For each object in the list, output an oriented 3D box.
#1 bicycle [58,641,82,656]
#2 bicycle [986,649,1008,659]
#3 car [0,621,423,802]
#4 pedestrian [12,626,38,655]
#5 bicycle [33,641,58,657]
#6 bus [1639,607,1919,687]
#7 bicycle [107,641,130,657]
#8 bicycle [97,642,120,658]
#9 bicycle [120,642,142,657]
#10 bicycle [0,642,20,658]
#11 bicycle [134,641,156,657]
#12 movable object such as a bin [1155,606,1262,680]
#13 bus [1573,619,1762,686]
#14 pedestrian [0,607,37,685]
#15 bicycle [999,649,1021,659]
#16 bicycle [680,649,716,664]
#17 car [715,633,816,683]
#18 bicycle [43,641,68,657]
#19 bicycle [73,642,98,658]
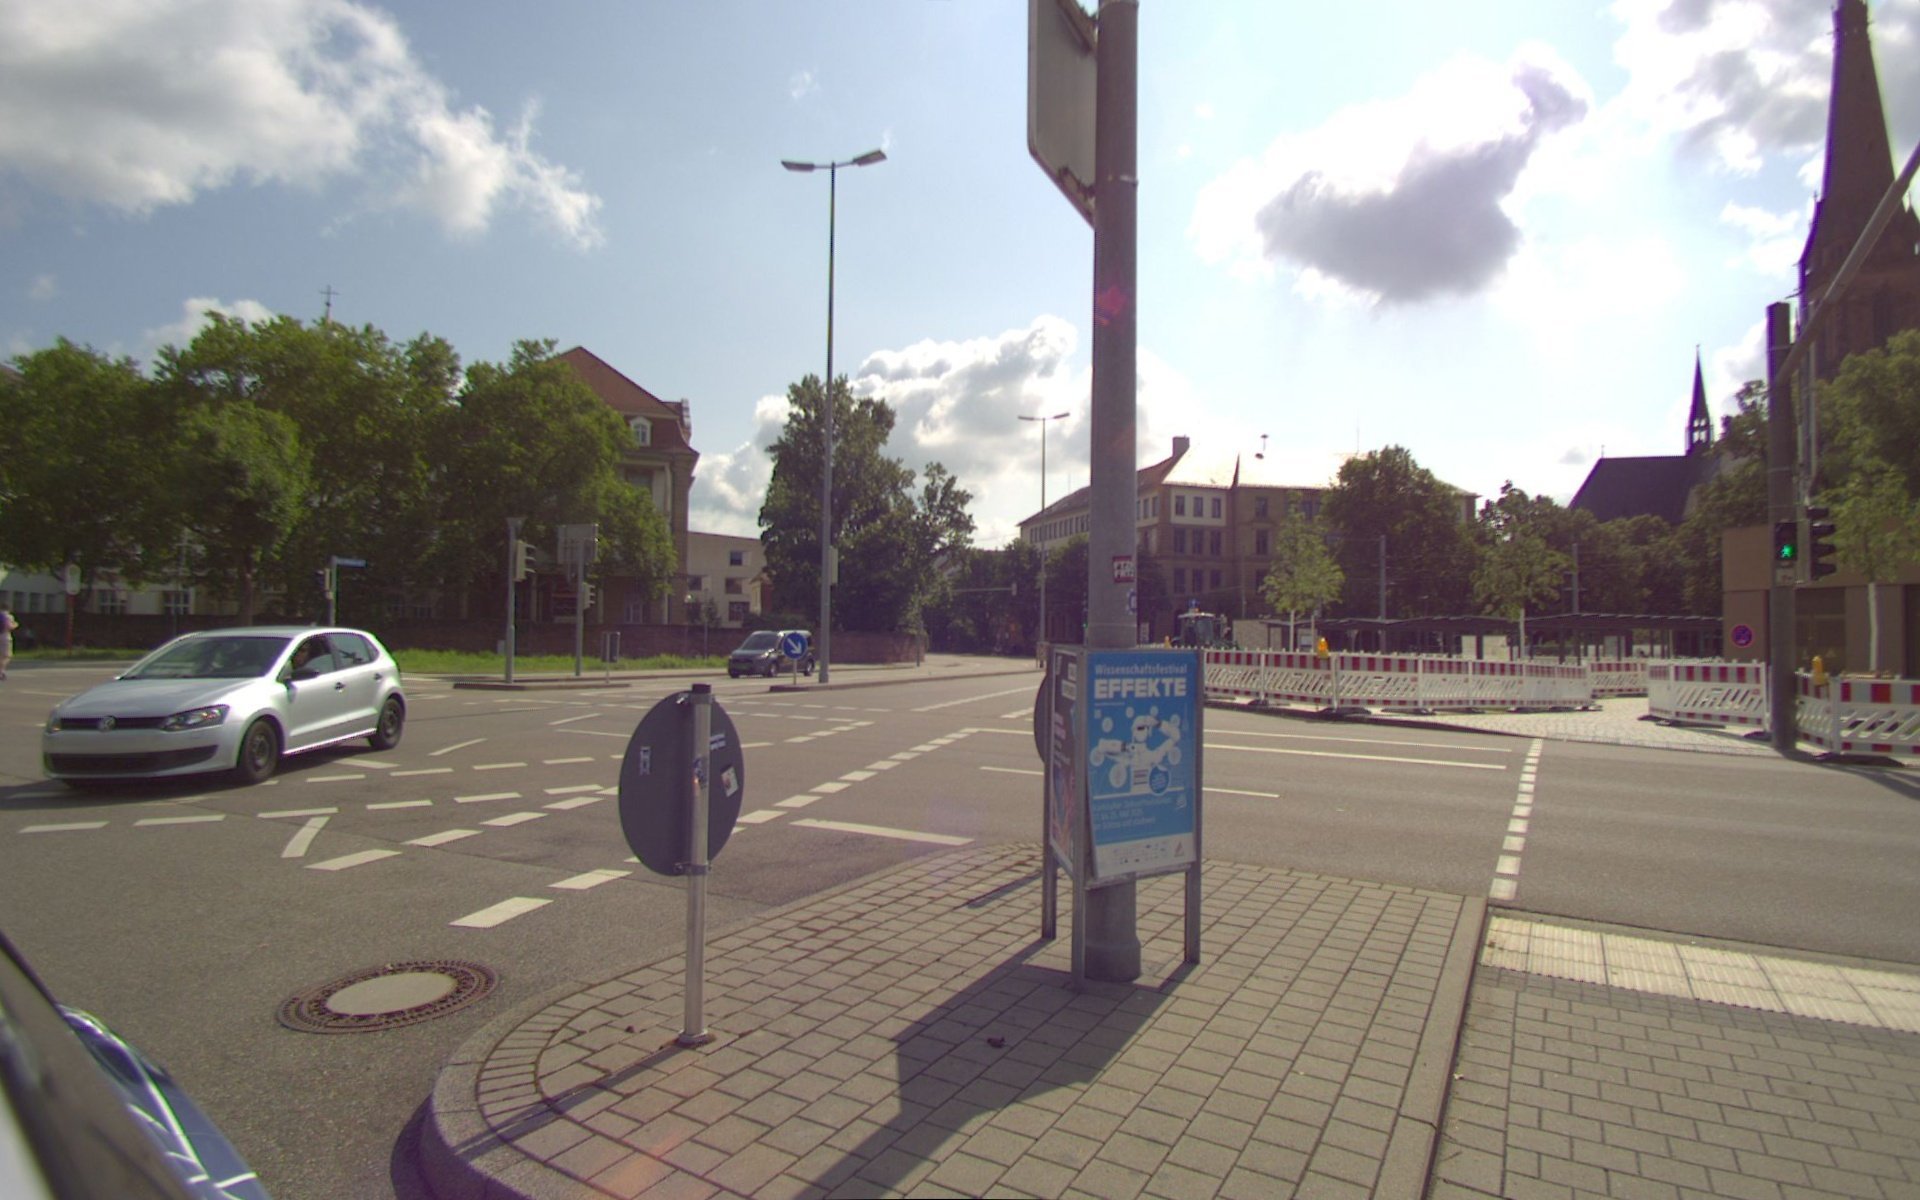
[{"bbox_3d":[-48.765,2.661,55.484,0.475,0.855,0.974,1,-3,-6],"label":"bicycle"},{"bbox_3d":[5.155,7.603,142.095,2.877,1.216,1.064,0,0,24],"label":"bicycle"},{"bbox_3d":[-7.232,0.983,10.231,1.632,1.453,4.007,1,-2,-3],"label":"car"},{"bbox_3d":[-50.516,2.197,54.693,0.713,1.545,0.727,1,-2,-5],"label":"pedestrian"},{"bbox_3d":[-50.043,2.686,55.375,0.475,0.855,0.974,1,-3,-6],"label":"bicycle"},{"bbox_3d":[38.936,2.169,47.712,2.942,3.287,12.113,1,-2,-19],"label":"bus"},{"bbox_3d":[-46.238,2.713,55.621,0.475,0.855,0.974,1,-3,-6],"label":"bicycle"},{"bbox_3d":[-46.812,2.729,55.649,0.475,0.855,0.974,1,-3,-6],"label":"bicycle"},{"bbox_3d":[-45.614,2.723,55.689,0.475,0.855,0.974,1,-3,-6],"label":"bicycle"},{"bbox_3d":[-51.887,2.721,55.151,0.475,0.855,0.974,1,-3,-6],"label":"bicycle"},{"bbox_3d":[-44.954,2.693,55.829,0.475,0.855,0.974,1,-3,-6],"label":"bicycle"},{"bbox_3d":[10.527,1.830,43.209,1.965,2.972,4.465,3,-3,-27],"label":"movable object such as a bin"},{"bbox_3d":[34.999,2.590,50.505,2.333,3.081,7.787,2,-3,-19],"label":"bus"},{"bbox_3d":[-23.228,1.115,24.474,0.690,1.871,1.179,-1,-3,5],"label":"pedestrian"},{"bbox_3d":[6.827,7.416,139.307,2.877,1.216,1.042,0,0,24],"label":"bicycle"},{"bbox_3d":[-16.546,3.568,63.859,2.025,0.867,0.861,3,-2,-30],"label":"bicycle"},{"bbox_3d":[-7.363,2.222,38.854,1.839,1.799,4.644,-2,-3,17],"label":"car"},{"bbox_3d":[-49.483,2.671,55.371,0.475,0.855,0.974,1,-3,-6],"label":"bicycle"},{"bbox_3d":[-47.945,2.761,55.471,0.492,0.855,1.075,1,-3,-6],"label":"bicycle"}]
